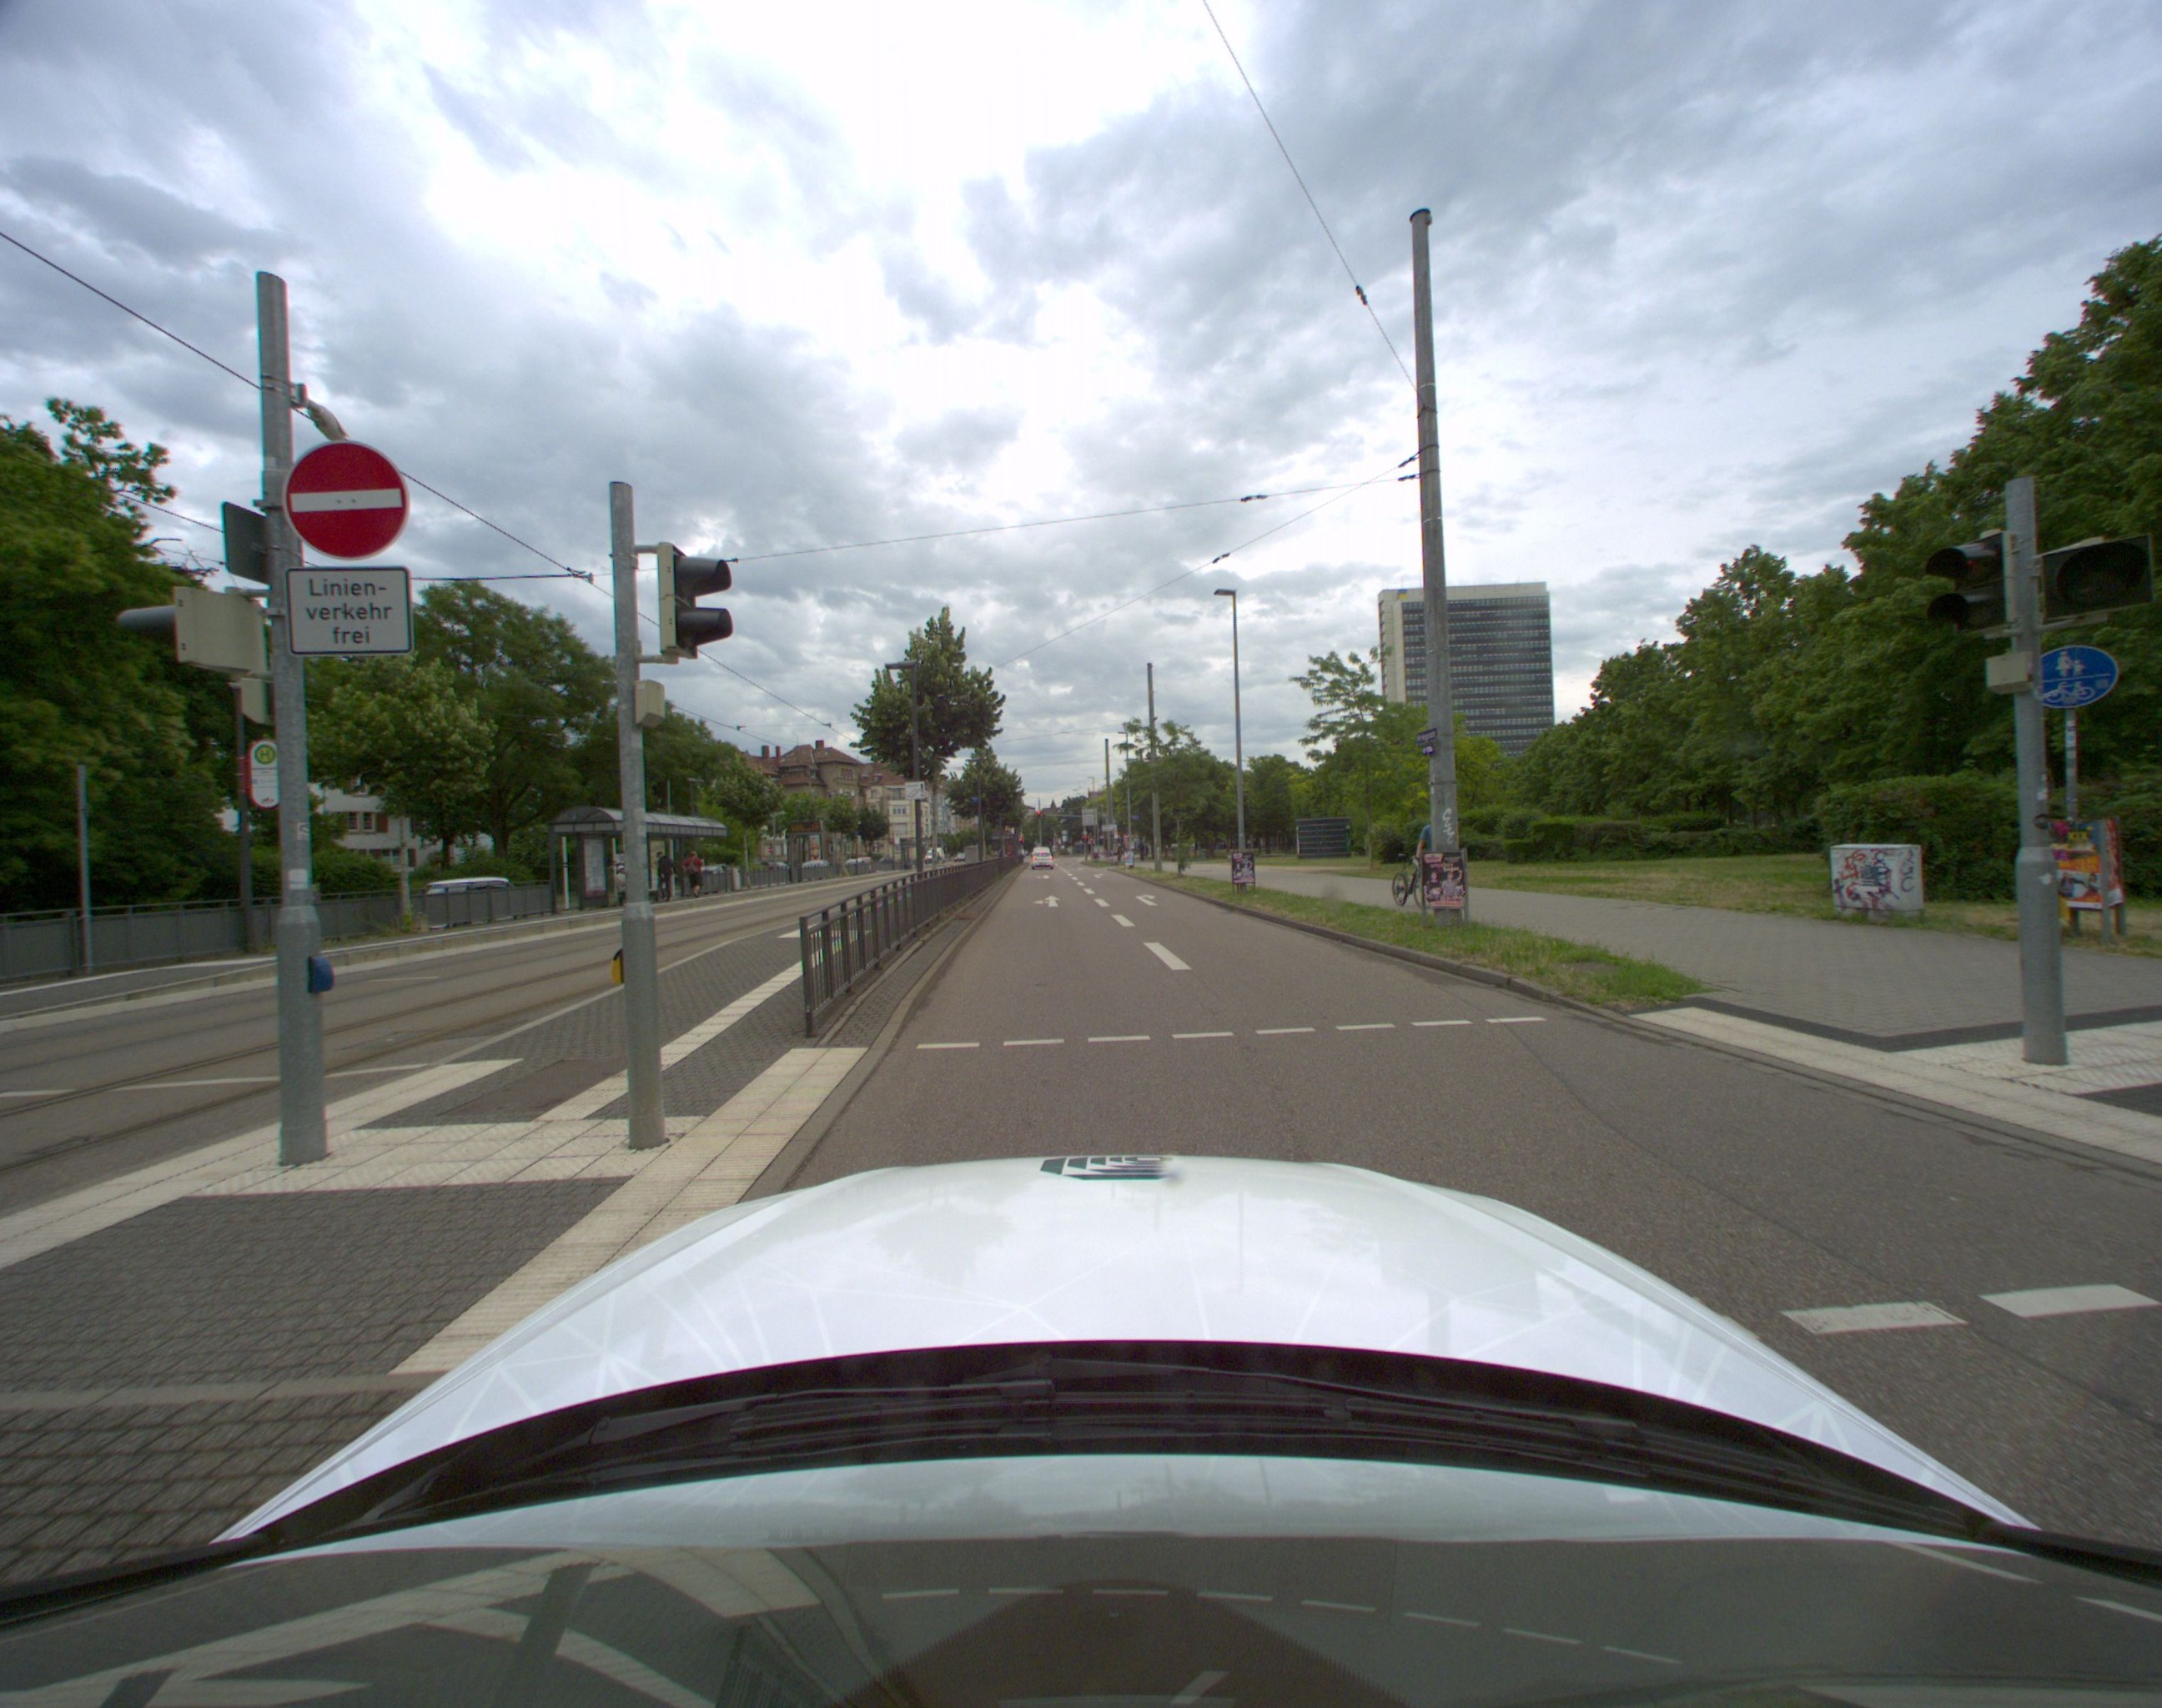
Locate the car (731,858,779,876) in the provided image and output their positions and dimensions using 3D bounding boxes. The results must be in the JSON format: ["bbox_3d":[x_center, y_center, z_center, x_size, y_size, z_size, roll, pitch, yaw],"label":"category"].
[{"bbox_3d":[-31.550,1.246,78.911,3.866,1.493,1.774,-2,0,-3],"label":"car"}]

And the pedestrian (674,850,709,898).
[{"bbox_3d":[-14.220,0.711,29.785,0.767,1.660,1.023,-3,0,-6],"label":"pedestrian"}]

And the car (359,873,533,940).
[{"bbox_3d":[-17.156,1.352,22.267,1.766,1.493,3.883,-2,0,-3],"label":"car"}]

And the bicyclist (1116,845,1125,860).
[{"bbox_3d":[3.729,-0.186,76.868,0.676,1.379,0.728,-3,0,4],"label":"bicyclist"}]

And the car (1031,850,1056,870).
[{"bbox_3d":[-2.974,0.446,65.230,1.777,1.472,4.008,-2,1,-1],"label":"car"}]

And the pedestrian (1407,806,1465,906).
[{"bbox_3d":[6.958,0.035,15.989,0.738,1.869,0.681,-3,0,-4],"label":"pedestrian"}]

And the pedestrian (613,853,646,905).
[{"bbox_3d":[-14.549,0.781,26.250,0.630,1.624,0.679,-3,0,-4],"label":"pedestrian"}]

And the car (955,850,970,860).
[{"bbox_3d":[-20.154,0.157,138.465,1.762,1.493,3.890,-2,0,3],"label":"car"}]

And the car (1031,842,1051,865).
[{"bbox_3d":[-3.729,-0.048,75.402,1.779,1.962,4.377,-2,1,-3],"label":"car"}]

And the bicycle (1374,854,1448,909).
[{"bbox_3d":[6.513,0.518,16.159,0.653,1.003,1.777,-3,0,-3],"label":"bicycle"}]

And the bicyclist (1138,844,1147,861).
[{"bbox_3d":[5.708,-0.181,75.734,0.677,1.537,0.672,-3,0,-2],"label":"bicyclist"}]

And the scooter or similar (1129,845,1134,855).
[{"bbox_3d":[5.608,-0.425,90.850,0.374,1.141,1.202,-3,0,8],"label":"scooter or similar"}]

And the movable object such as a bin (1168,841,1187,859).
[{"bbox_3d":[7.669,-0.310,64.733,1.279,1.390,1.158,-2,0,-2],"label":"movable object such as a bin"}]

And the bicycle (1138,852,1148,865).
[{"bbox_3d":[5.736,0.383,75.754,0.677,1.154,1.897,-3,1,-1],"label":"bicycle"}]

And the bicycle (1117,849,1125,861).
[{"bbox_3d":[3.756,0.085,76.861,0.676,1.154,1.900,-3,1,4],"label":"bicycle"}]

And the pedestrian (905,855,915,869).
[{"bbox_3d":[-17.056,0.804,81.231,0.863,1.267,0.692,-3,0,-6],"label":"pedestrian"}]

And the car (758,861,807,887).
[{"bbox_3d":[-18.926,1.258,51.828,1.766,1.493,3.883,-2,0,-3],"label":"car"}]

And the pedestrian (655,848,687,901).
[{"bbox_3d":[-13.699,0.665,27.242,0.700,1.715,0.696,-3,0,-12],"label":"pedestrian"}]

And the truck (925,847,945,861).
[{"bbox_3d":[-22.061,0.030,123.242,1.780,2.032,5.401,-2,0,3],"label":"truck"}]
